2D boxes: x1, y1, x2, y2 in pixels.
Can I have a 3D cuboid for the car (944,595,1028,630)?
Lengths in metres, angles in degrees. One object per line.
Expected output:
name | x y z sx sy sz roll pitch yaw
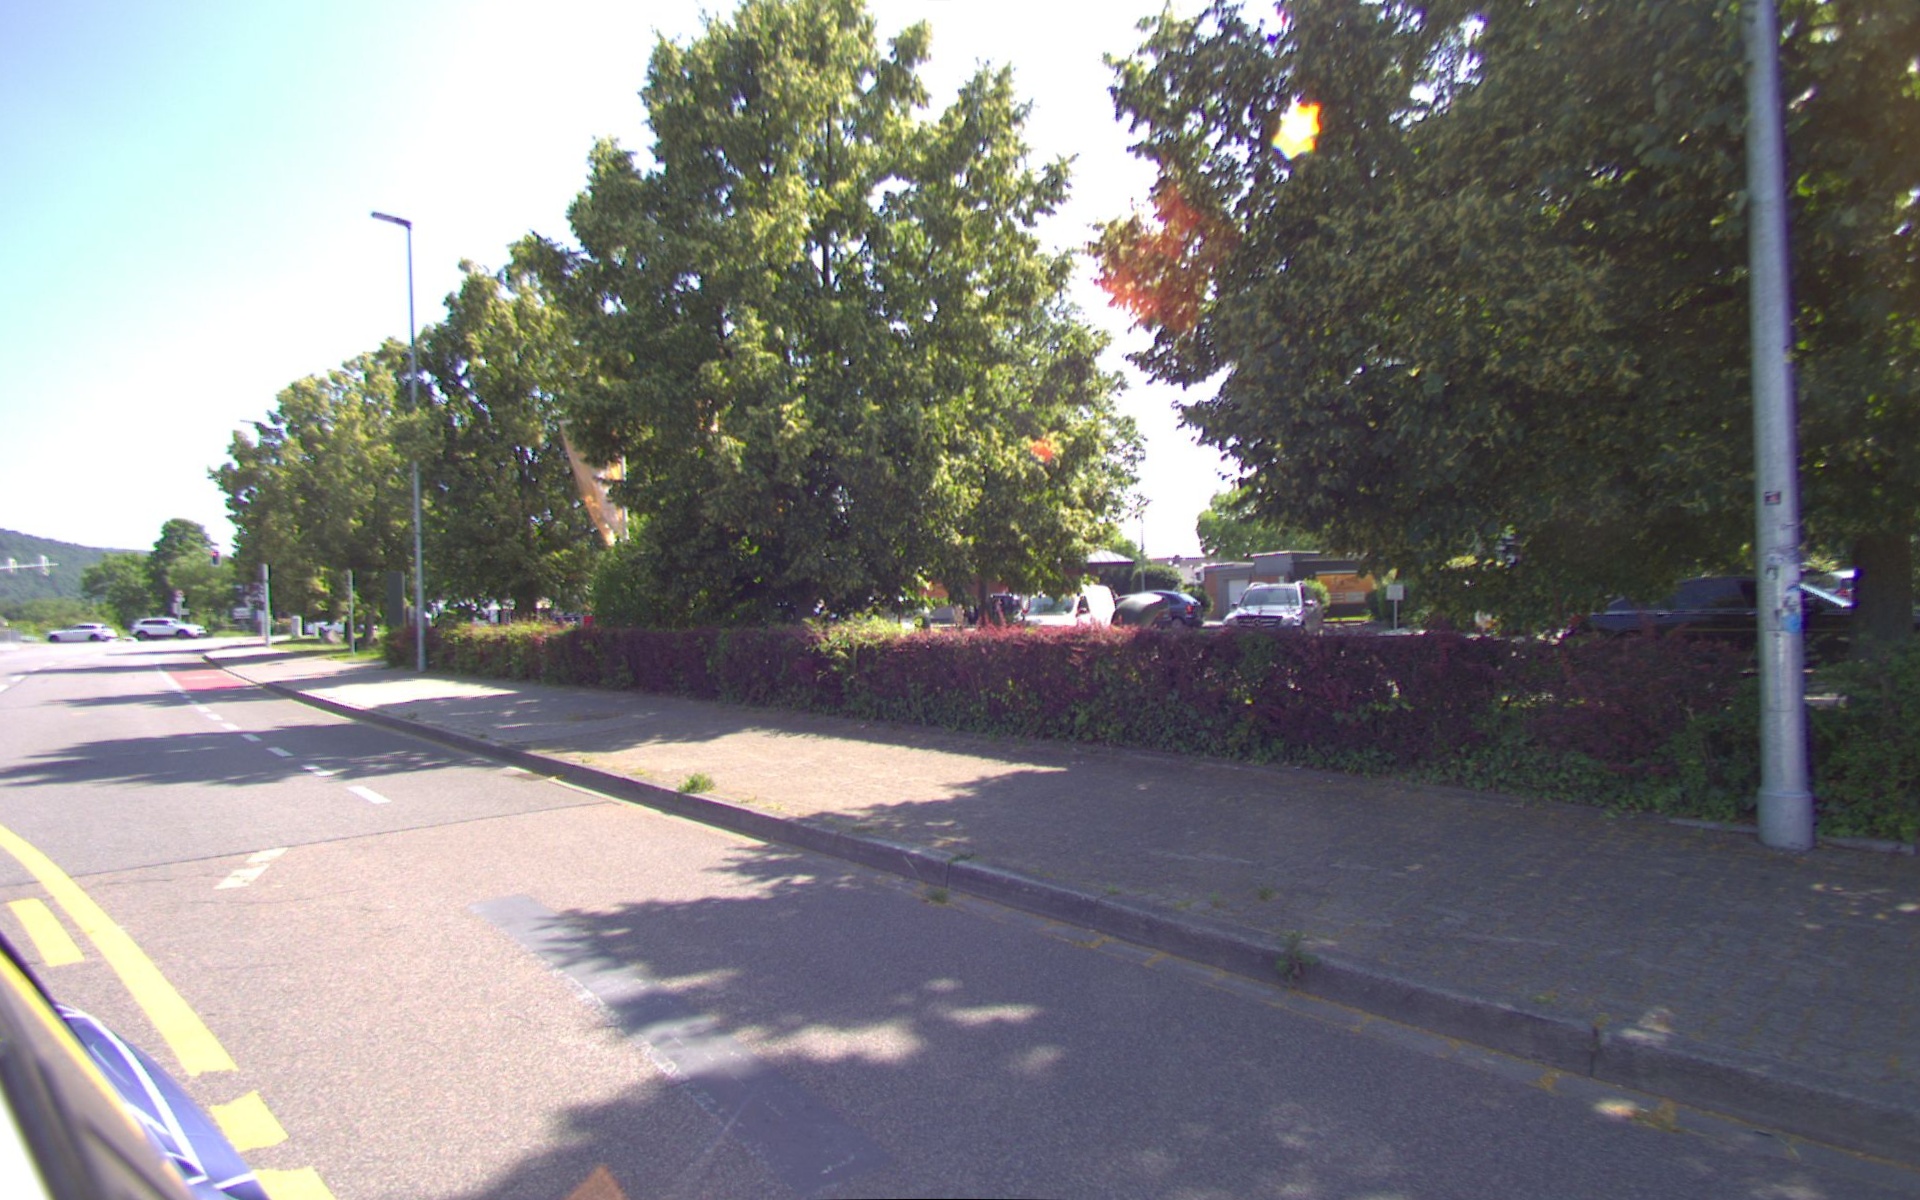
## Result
car | 1.293 0.617 51.757 3.936 1.606 1.931 -2 0 -8

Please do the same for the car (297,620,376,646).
car | -47.037 2.477 76.388 4.691 1.664 1.836 -2 3 -10

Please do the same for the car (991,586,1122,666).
car | 2.563 0.610 26.005 1.741 1.841 4.311 -3 -1 29

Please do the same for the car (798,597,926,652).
car | -3.502 0.878 36.144 4.205 1.812 1.745 -2 0 26

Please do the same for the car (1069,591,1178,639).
car | 6.185 0.579 38.417 3.715 1.644 1.649 -2 0 35

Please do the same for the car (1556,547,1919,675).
car | 11.583 0.146 14.305 2.043 1.572 5.036 -1 0 -42

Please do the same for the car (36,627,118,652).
car | -67.780 3.007 77.749 4.298 1.638 1.837 -2 3 -13

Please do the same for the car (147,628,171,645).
car | -77.394 3.544 97.734 1.586 1.547 3.687 -1 0 -42

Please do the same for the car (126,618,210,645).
car | -58.693 2.323 75.033 4.507 1.664 1.836 -2 3 -10

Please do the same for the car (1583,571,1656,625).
car | 21.238 -0.097 32.527 1.815 1.588 3.824 -2 0 35

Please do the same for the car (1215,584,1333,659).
car | 7.697 0.482 24.591 1.898 1.595 3.771 -2 0 31

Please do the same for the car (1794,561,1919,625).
car | 22.616 -0.200 25.614 1.789 1.461 4.003 -2 0 33
